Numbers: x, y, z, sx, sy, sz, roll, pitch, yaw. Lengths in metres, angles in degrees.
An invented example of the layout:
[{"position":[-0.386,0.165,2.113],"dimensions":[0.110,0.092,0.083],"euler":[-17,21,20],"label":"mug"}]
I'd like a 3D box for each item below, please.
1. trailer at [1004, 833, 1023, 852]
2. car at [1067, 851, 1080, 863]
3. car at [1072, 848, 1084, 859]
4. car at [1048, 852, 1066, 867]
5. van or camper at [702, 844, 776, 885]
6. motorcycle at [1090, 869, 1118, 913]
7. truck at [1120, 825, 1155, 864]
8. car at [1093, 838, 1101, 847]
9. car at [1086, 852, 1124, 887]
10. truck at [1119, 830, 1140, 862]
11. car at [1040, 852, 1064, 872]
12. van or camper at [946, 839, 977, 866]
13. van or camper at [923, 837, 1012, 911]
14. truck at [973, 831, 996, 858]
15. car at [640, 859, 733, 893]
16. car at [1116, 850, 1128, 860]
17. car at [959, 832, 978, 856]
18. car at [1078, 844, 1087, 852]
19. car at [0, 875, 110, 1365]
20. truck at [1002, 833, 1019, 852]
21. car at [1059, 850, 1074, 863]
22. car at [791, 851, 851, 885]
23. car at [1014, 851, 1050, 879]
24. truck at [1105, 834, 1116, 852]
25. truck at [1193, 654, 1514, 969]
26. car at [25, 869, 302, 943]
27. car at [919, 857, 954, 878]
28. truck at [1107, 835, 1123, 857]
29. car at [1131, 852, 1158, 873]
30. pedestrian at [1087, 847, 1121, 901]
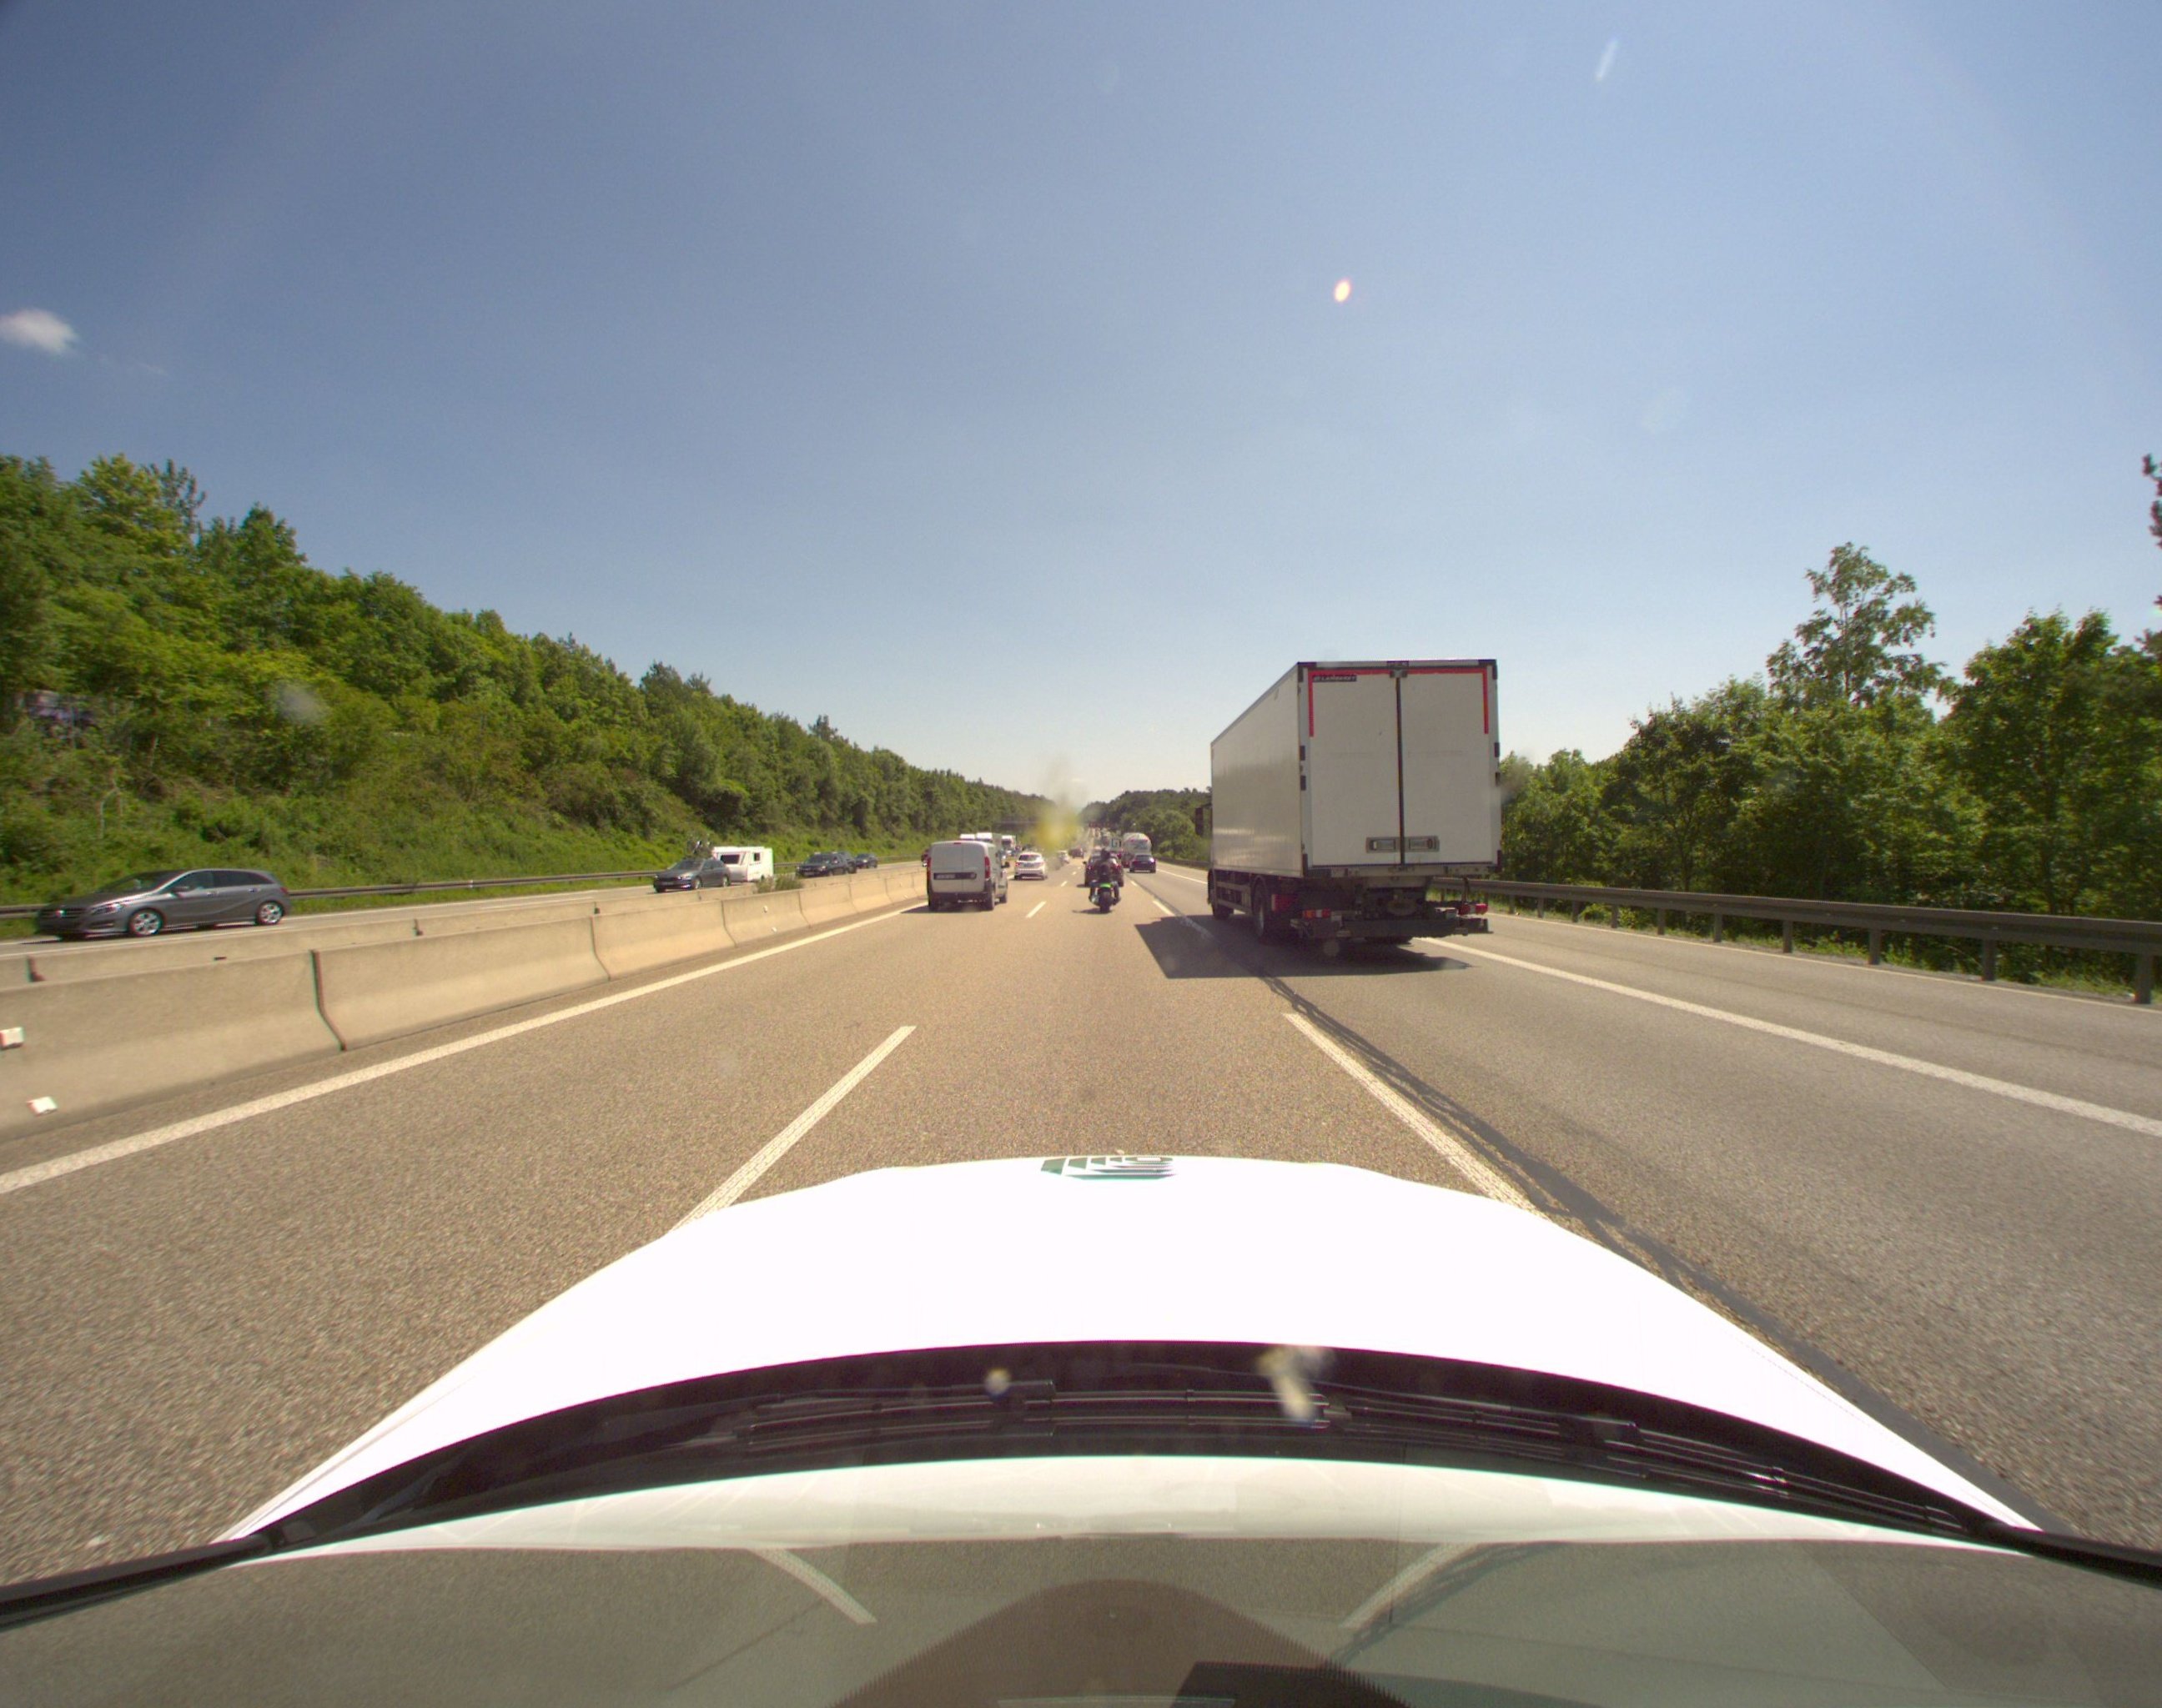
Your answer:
[{"position":[-16.148,-2.684,195.177],"dimensions":[2.791,4.338,14.046],"euler":[-1,0,3],"label":"trailer"},{"position":[-1.346,0.585,147.543],"dimensions":[1.986,2.014,4.001],"euler":[-1,0,2],"label":"car"},{"position":[-0.511,-0.090,132.949],"dimensions":[1.873,1.859,4.001],"euler":[1,0,1],"label":"car"},{"position":[-2.433,0.537,82.992],"dimensions":[1.693,1.478,4.001],"euler":[1,1,1],"label":"car"},{"position":[-17.517,0.527,41.905],"dimensions":[2.068,1.977,3.706],"euler":[-1,0,2],"label":"van or camper"},{"position":[0.616,0.939,21.276],"dimensions":[0.689,1.015,2.123],"euler":[1,0,2],"label":"motorcycle"},{"position":[5.628,-0.901,82.721],"dimensions":[2.977,3.671,9.289],"euler":[-1,0,1],"label":"truck"},{"position":[4.696,-3.272,238.846],"dimensions":[2.495,2.587,5.017],"euler":[1,0,1],"label":"car"},{"position":[1.144,0.666,37.329],"dimensions":[1.525,1.510,4.005],"euler":[-1,0,5],"label":"car"},{"position":[5.414,-0.833,91.788],"dimensions":[1.988,3.522,4.748],"euler":[-1,-1,-1],"label":"truck"},{"position":[-2.330,0.630,66.840],"dimensions":[1.693,1.478,4.001],"euler":[1,1,1],"label":"car"},{"position":[-13.071,-0.168,89.726],"dimensions":[2.222,2.761,6.839],"euler":[-1,0,1],"label":"van or camper"},{"position":[-3.137,0.537,23.320],"dimensions":[1.789,1.892,4.161],"euler":[-1,0,2],"label":"van or camper"},{"position":[-15.594,-1.467,131.799],"dimensions":[2.830,4.214,5.661],"euler":[0,0,1],"label":"truck"},{"position":[-17.602,0.940,36.624],"dimensions":[1.794,1.347,4.725],"euler":[-1,0,1],"label":"car"},{"position":[6.063,0.135,120.692],"dimensions":[1.781,1.555,3.804],"euler":[1,1,1],"label":"car"},{"position":[-19.372,-1.702,140.493],"dimensions":[2.440,3.873,4.566],"euler":[-1,0,1],"label":"car"},{"position":[0.363,-1.511,201.074],"dimensions":[1.922,2.014,4.001],"euler":[-1,0,2],"label":"car"},{"position":[-4.095,0.803,0.291],"dimensions":[1.726,1.427,4.731],"euler":[-1,0,1],"label":"car"},{"position":[-16.397,-2.709,189.159],"dimensions":[2.791,4.165,7.605],"euler":[-1,0,3],"label":"truck"},{"position":[-1.686,0.270,95.682],"dimensions":[1.693,1.478,4.001],"euler":[1,1,1],"label":"car"},{"position":[-13.587,0.693,42.810],"dimensions":[1.686,1.683,4.197],"euler":[-1,0,1],"label":"car"},{"position":[-2.716,0.590,45.611],"dimensions":[1.693,1.478,4.001],"euler":[1,1,1],"label":"car"},{"position":[8.486,-3.102,236.917],"dimensions":[3.022,5.139,9.985],"euler":[2,0,1],"label":"truck"},{"position":[4.104,-0.549,15.152],"dimensions":[2.679,3.876,9.780],"euler":[-2,0,1],"label":"truck"},{"position":[-21.757,1.149,19.639],"dimensions":[1.571,1.462,4.390],"euler":[-1,0,2],"label":"car"},{"position":[-10.348,0.953,58.616],"dimensions":[1.608,1.376,4.272],"euler":[-1,0,1],"label":"car"},{"position":[7.320,-1.761,175.988],"dimensions":[3.022,4.542,9.985],"euler":[2,1,1],"label":"truck"},{"position":[4.845,0.637,62.696],"dimensions":[1.822,1.470,4.001],"euler":[1,0,1],"label":"car"},{"position":[0.606,0.507,21.332],"dimensions":[0.846,1.362,0.962],"euler":[-1,0,2],"label":"pedestrian"}]
